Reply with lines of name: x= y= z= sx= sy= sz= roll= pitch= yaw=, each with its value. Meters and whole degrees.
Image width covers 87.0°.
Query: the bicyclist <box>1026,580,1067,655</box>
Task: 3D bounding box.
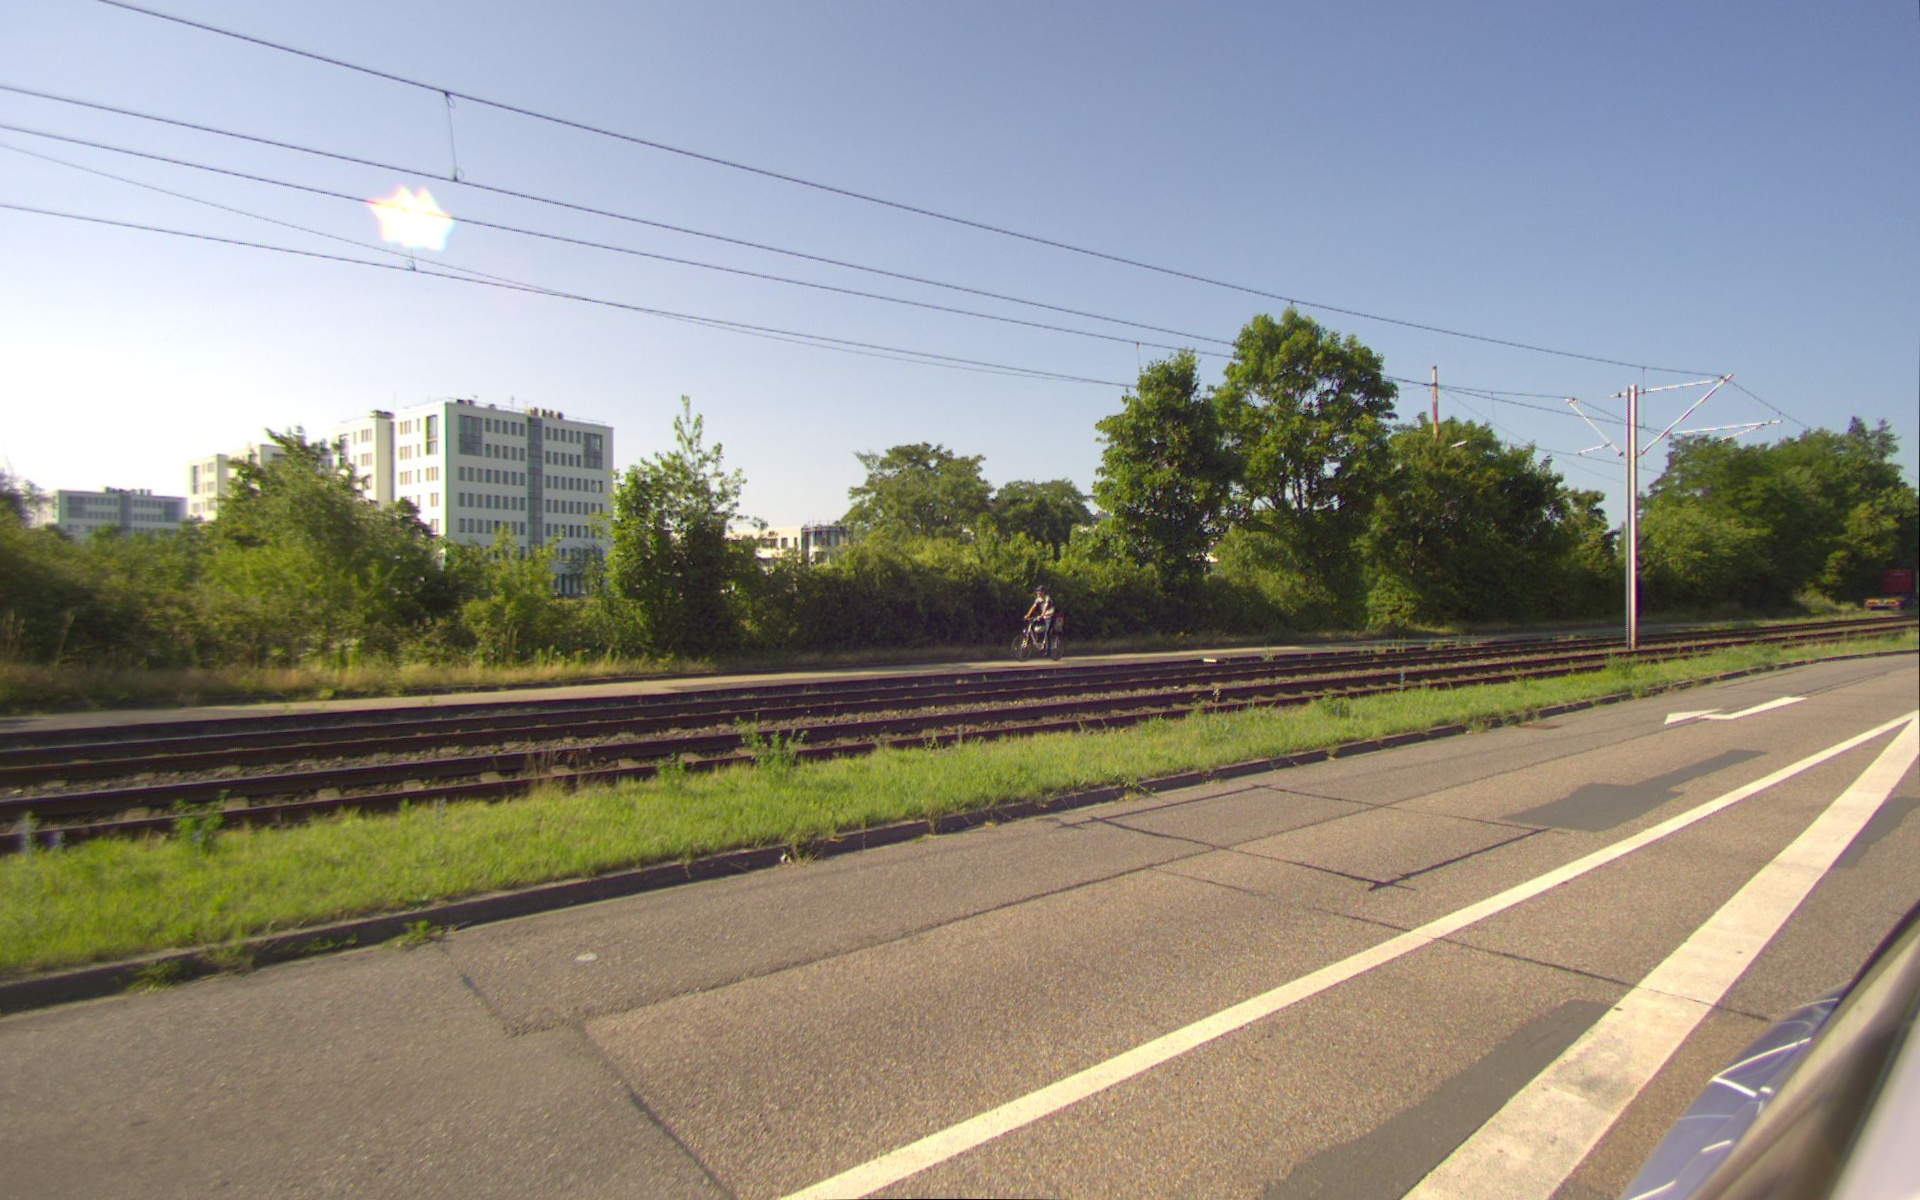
bicyclist: x=2.164 y=0.421 z=25.339 sx=0.705 sy=1.830 sz=0.707 roll=0 pitch=0 yaw=-39

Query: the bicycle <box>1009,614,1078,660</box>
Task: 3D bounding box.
bicycle: x=2.099 y=0.896 z=25.269 sx=1.840 sy=1.060 sz=0.546 roll=-1 pitch=0 yaw=-39
